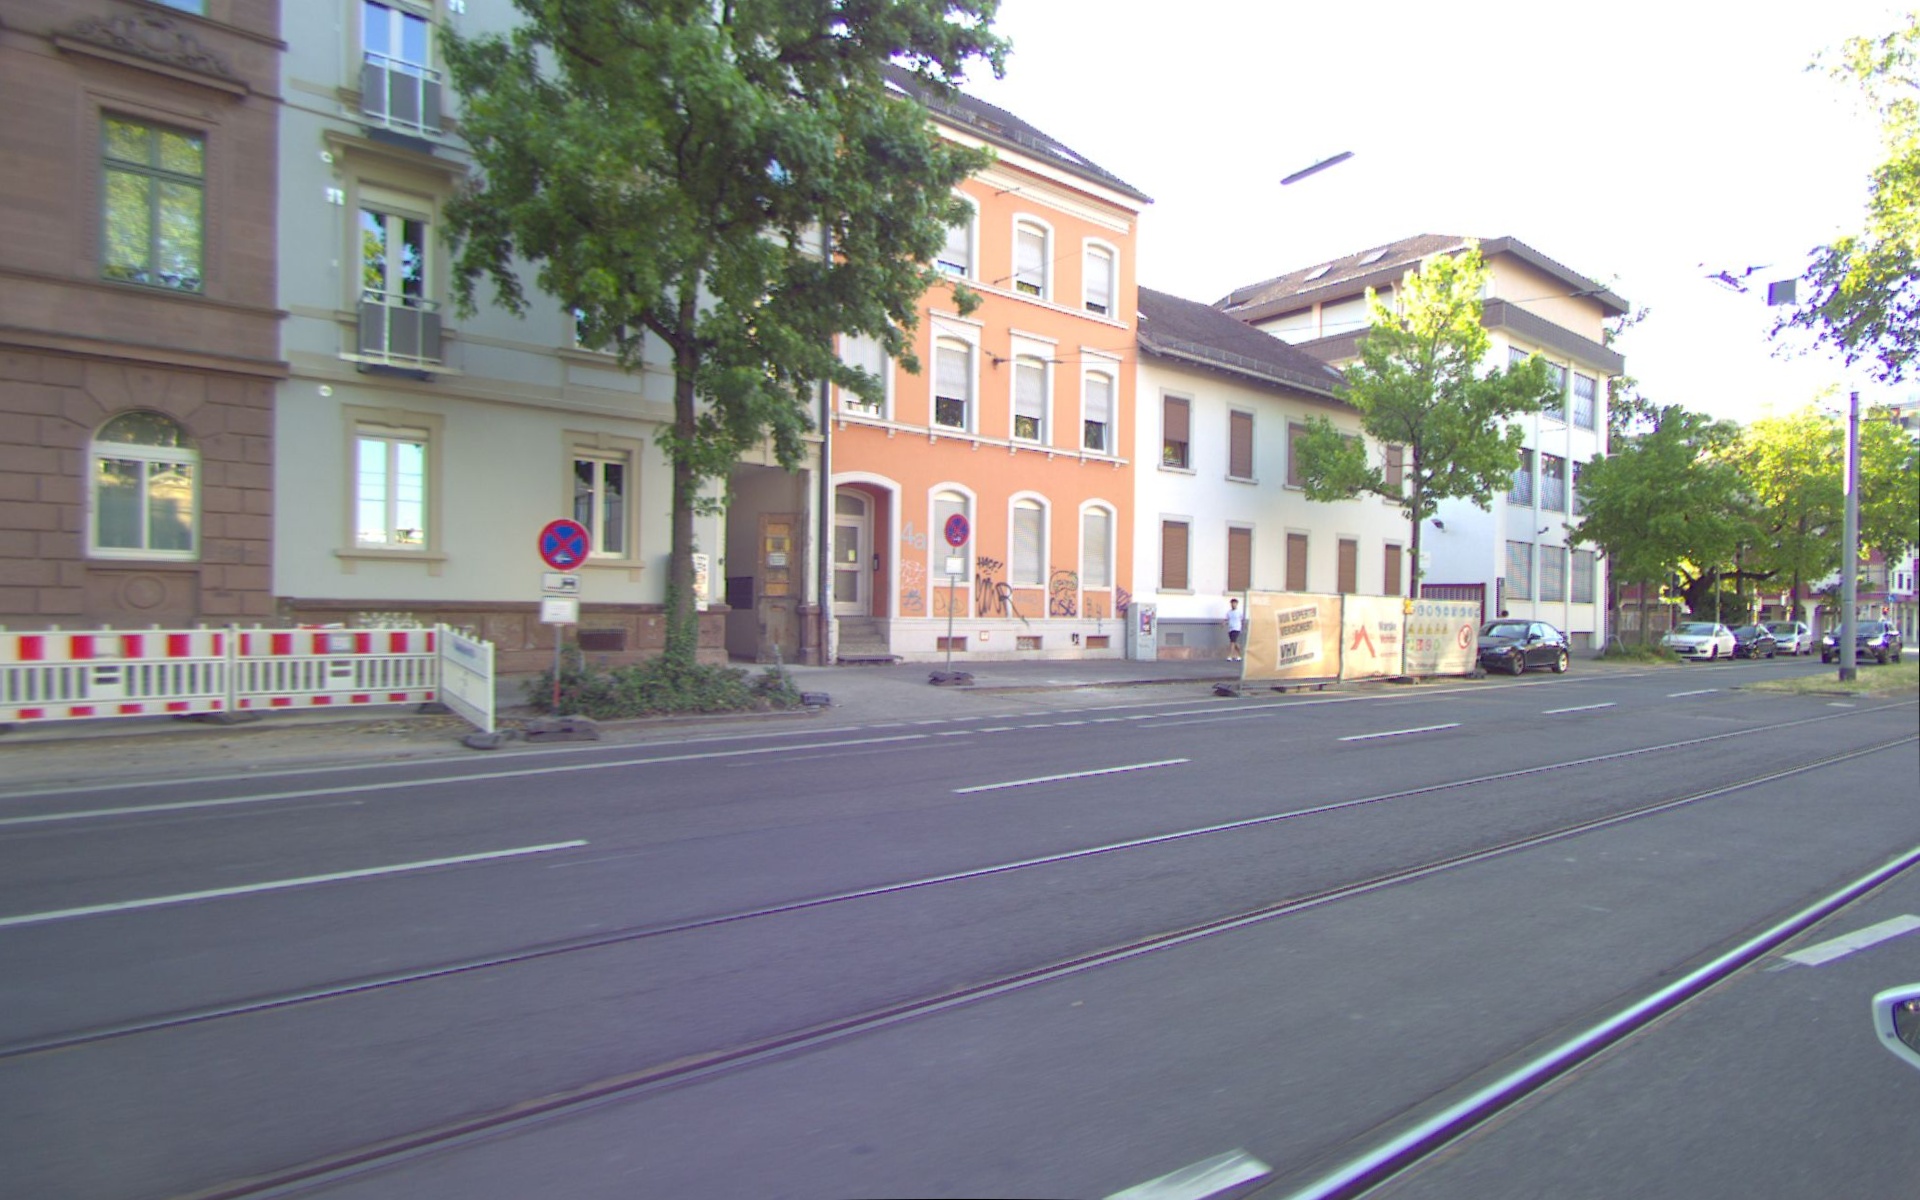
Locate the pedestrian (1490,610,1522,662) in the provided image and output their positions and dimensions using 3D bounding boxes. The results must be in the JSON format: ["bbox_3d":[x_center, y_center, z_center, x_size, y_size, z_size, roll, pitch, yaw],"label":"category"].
[{"bbox_3d":[17.573,1.147,32.338,0.725,1.642,0.630,1,1,-38],"label":"pedestrian"}]

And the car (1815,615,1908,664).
[{"bbox_3d":[33.528,1.427,37.326,4.273,1.712,1.978,1,-1,-39],"label":"car"}]

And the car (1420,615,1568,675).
[{"bbox_3d":[15.100,1.210,28.318,4.683,1.534,1.978,1,-1,-38],"label":"car"}]

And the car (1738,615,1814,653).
[{"bbox_3d":[38.354,1.561,47.176,4.142,1.712,1.978,1,-1,-39],"label":"car"}]

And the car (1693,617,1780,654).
[{"bbox_3d":[33.108,1.477,42.798,4.610,1.495,1.978,1,-1,-39],"label":"car"}]

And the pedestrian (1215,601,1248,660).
[{"bbox_3d":[7.374,0.823,27.275,0.634,1.591,0.589,1,0,-39],"label":"pedestrian"}]

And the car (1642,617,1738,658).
[{"bbox_3d":[28.495,1.410,39.167,4.368,1.490,1.978,1,-1,-39],"label":"car"}]
